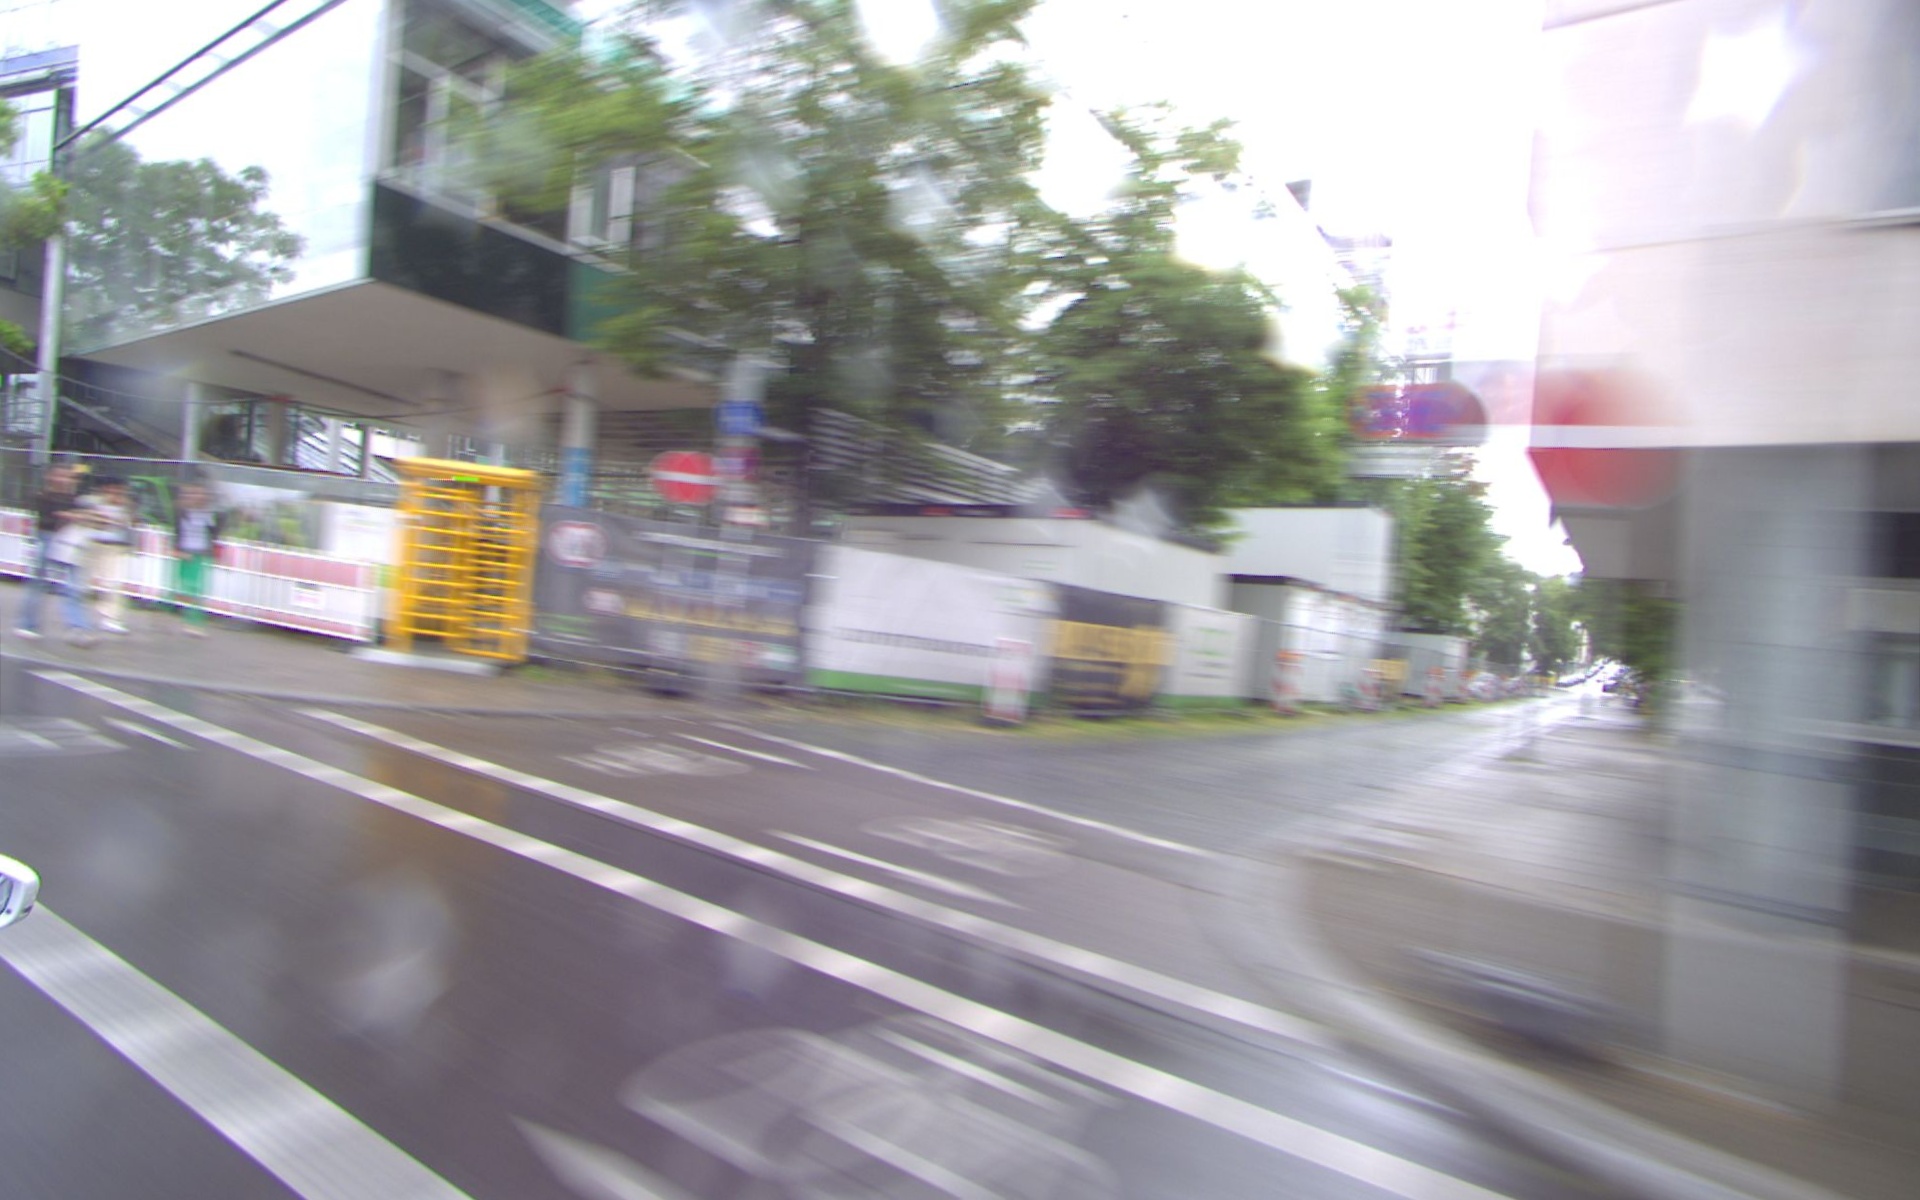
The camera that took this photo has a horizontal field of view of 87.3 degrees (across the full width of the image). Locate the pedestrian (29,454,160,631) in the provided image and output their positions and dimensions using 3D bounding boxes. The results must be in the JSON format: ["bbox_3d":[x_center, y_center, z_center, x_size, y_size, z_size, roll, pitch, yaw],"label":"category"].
[{"bbox_3d":[-9.631,-0.630,11.204,0.960,1.839,0.700,7,2,28],"label":"pedestrian"}]

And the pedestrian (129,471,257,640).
[{"bbox_3d":[-8.893,-0.508,11.670,1.048,1.808,0.700,7,2,28],"label":"pedestrian"}]

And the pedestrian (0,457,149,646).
[{"bbox_3d":[-8.937,-0.478,10.118,1.099,1.752,0.737,7,2,28],"label":"pedestrian"}]
